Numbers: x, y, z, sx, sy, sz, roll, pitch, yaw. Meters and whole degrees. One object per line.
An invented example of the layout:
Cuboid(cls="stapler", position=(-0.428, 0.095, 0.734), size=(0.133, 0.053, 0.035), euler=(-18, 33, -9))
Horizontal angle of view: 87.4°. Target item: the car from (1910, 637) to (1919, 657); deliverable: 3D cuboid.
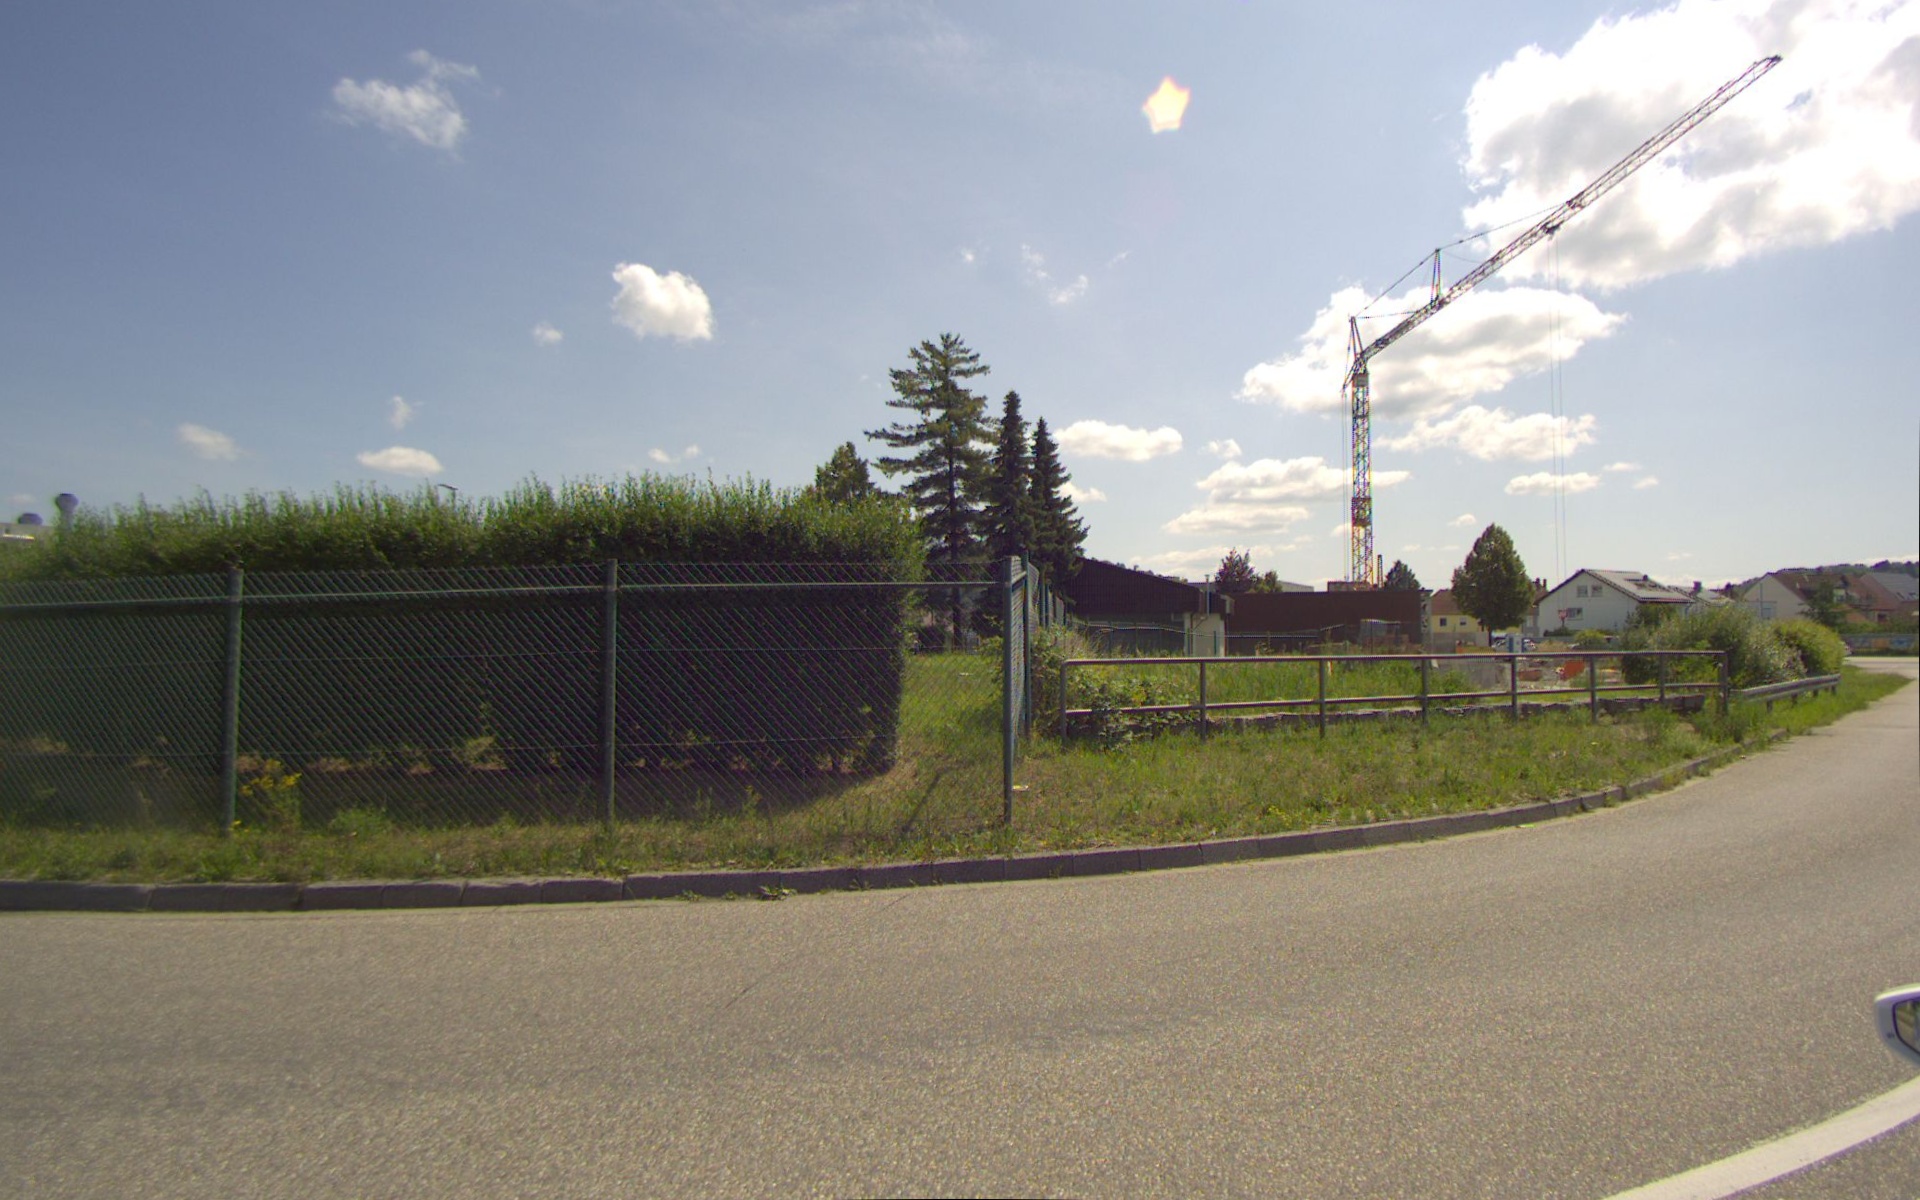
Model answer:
Cuboid(cls="car", position=(83.817, 4.075, 85.597), size=(3.936, 1.753, 1.764), euler=(1, -2, 37))

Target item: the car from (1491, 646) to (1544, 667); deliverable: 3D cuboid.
Cuboid(cls="car", position=(54.990, 5.564, 99.224), size=(4.326, 2.040, 2.000), euler=(-1, -2, 21))

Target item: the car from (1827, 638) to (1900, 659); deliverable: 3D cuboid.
Cuboid(cls="car", position=(74.428, 3.987, 82.803), size=(4.225, 1.496, 1.822), euler=(1, -2, 35))
